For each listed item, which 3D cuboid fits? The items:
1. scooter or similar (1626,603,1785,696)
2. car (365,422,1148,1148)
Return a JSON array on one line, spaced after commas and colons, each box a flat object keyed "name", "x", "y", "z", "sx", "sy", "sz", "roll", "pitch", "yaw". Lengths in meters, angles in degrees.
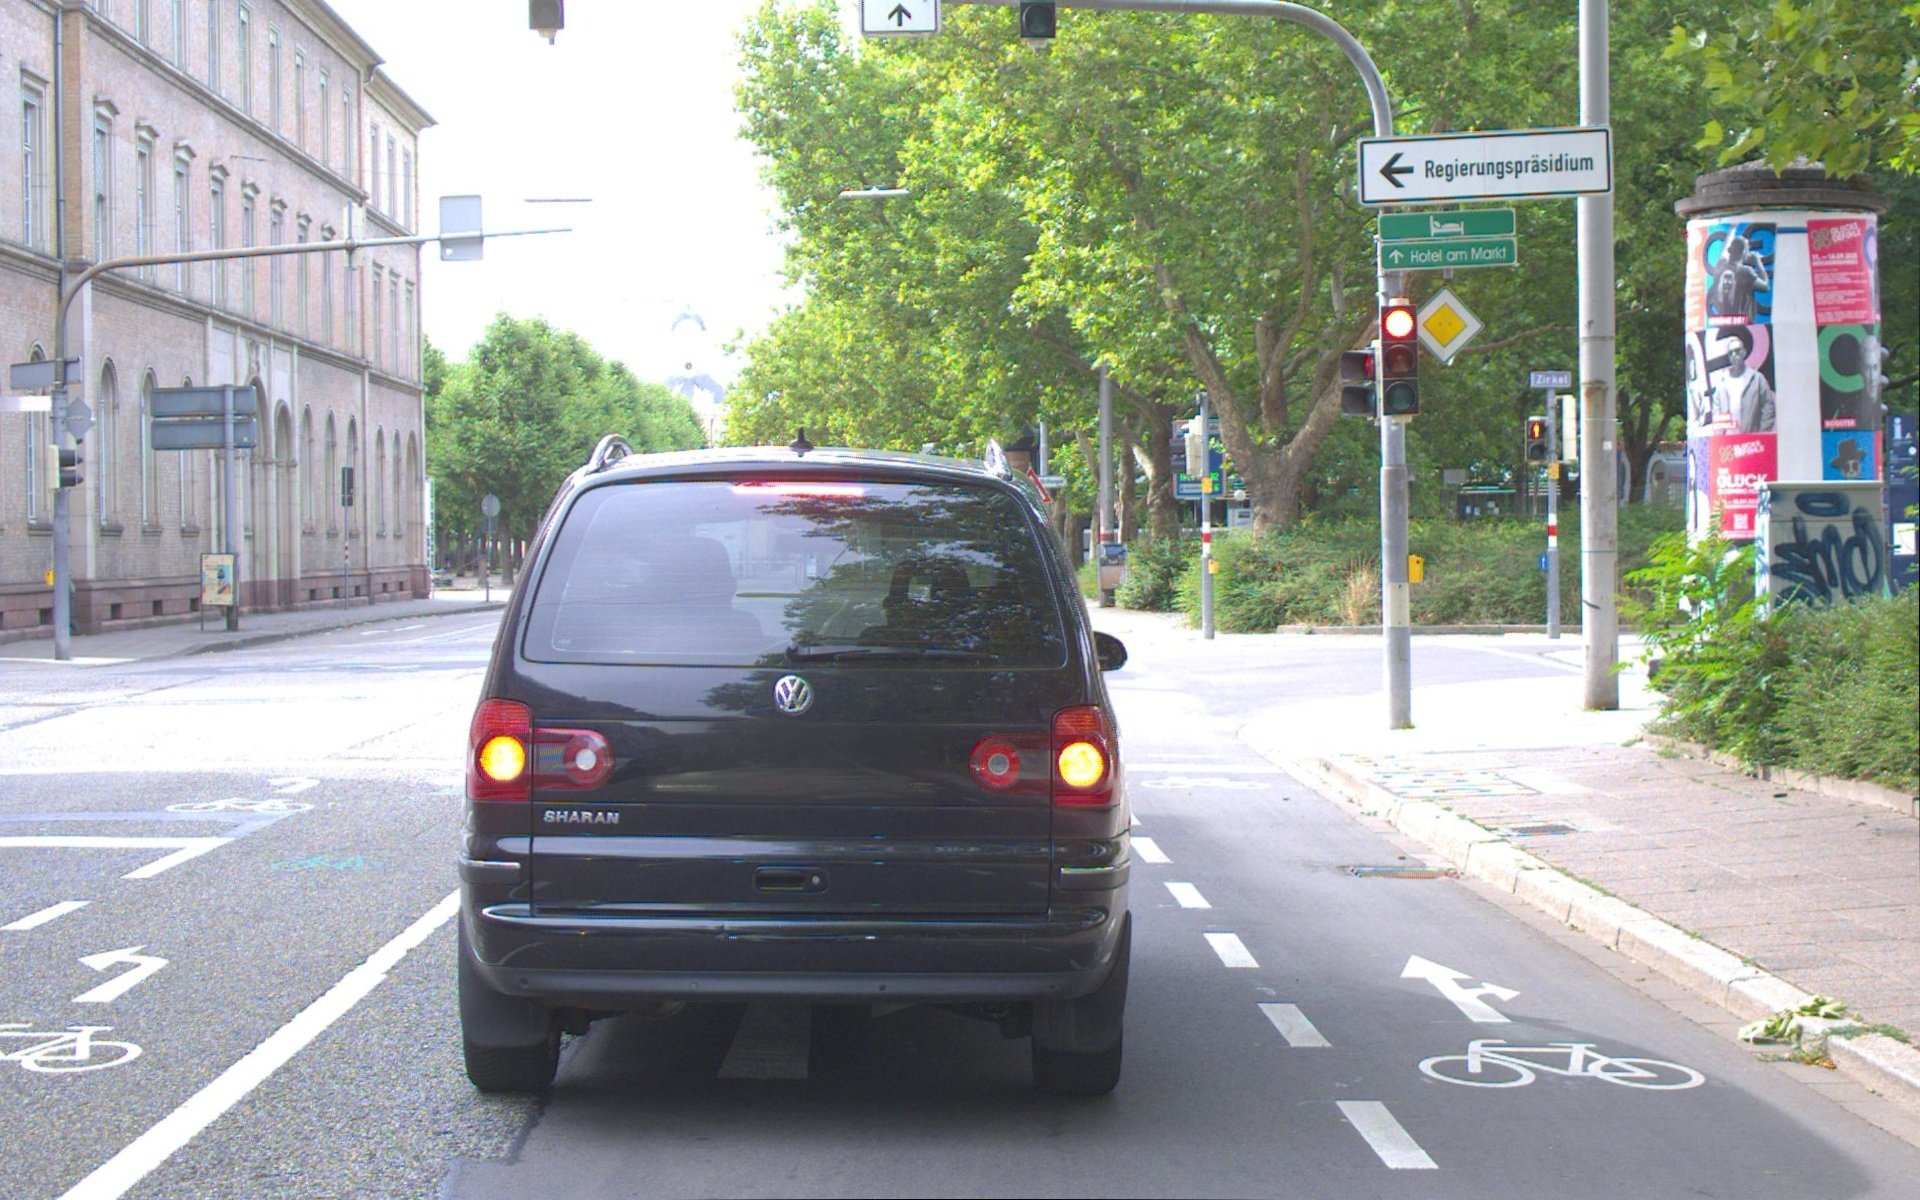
[{"name": "scooter or similar", "x": 6.138, "y": 0.404, "z": 28.336, "sx": 1.219, "sy": 0.734, "sz": 0.369, "roll": -1, "pitch": 1, "yaw": -1}, {"name": "car", "x": -0.475, "y": 0.397, "z": 10.568, "sx": 1.874, "sy": 1.739, "sz": 4.574, "roll": 0, "pitch": 1, "yaw": 0}]
